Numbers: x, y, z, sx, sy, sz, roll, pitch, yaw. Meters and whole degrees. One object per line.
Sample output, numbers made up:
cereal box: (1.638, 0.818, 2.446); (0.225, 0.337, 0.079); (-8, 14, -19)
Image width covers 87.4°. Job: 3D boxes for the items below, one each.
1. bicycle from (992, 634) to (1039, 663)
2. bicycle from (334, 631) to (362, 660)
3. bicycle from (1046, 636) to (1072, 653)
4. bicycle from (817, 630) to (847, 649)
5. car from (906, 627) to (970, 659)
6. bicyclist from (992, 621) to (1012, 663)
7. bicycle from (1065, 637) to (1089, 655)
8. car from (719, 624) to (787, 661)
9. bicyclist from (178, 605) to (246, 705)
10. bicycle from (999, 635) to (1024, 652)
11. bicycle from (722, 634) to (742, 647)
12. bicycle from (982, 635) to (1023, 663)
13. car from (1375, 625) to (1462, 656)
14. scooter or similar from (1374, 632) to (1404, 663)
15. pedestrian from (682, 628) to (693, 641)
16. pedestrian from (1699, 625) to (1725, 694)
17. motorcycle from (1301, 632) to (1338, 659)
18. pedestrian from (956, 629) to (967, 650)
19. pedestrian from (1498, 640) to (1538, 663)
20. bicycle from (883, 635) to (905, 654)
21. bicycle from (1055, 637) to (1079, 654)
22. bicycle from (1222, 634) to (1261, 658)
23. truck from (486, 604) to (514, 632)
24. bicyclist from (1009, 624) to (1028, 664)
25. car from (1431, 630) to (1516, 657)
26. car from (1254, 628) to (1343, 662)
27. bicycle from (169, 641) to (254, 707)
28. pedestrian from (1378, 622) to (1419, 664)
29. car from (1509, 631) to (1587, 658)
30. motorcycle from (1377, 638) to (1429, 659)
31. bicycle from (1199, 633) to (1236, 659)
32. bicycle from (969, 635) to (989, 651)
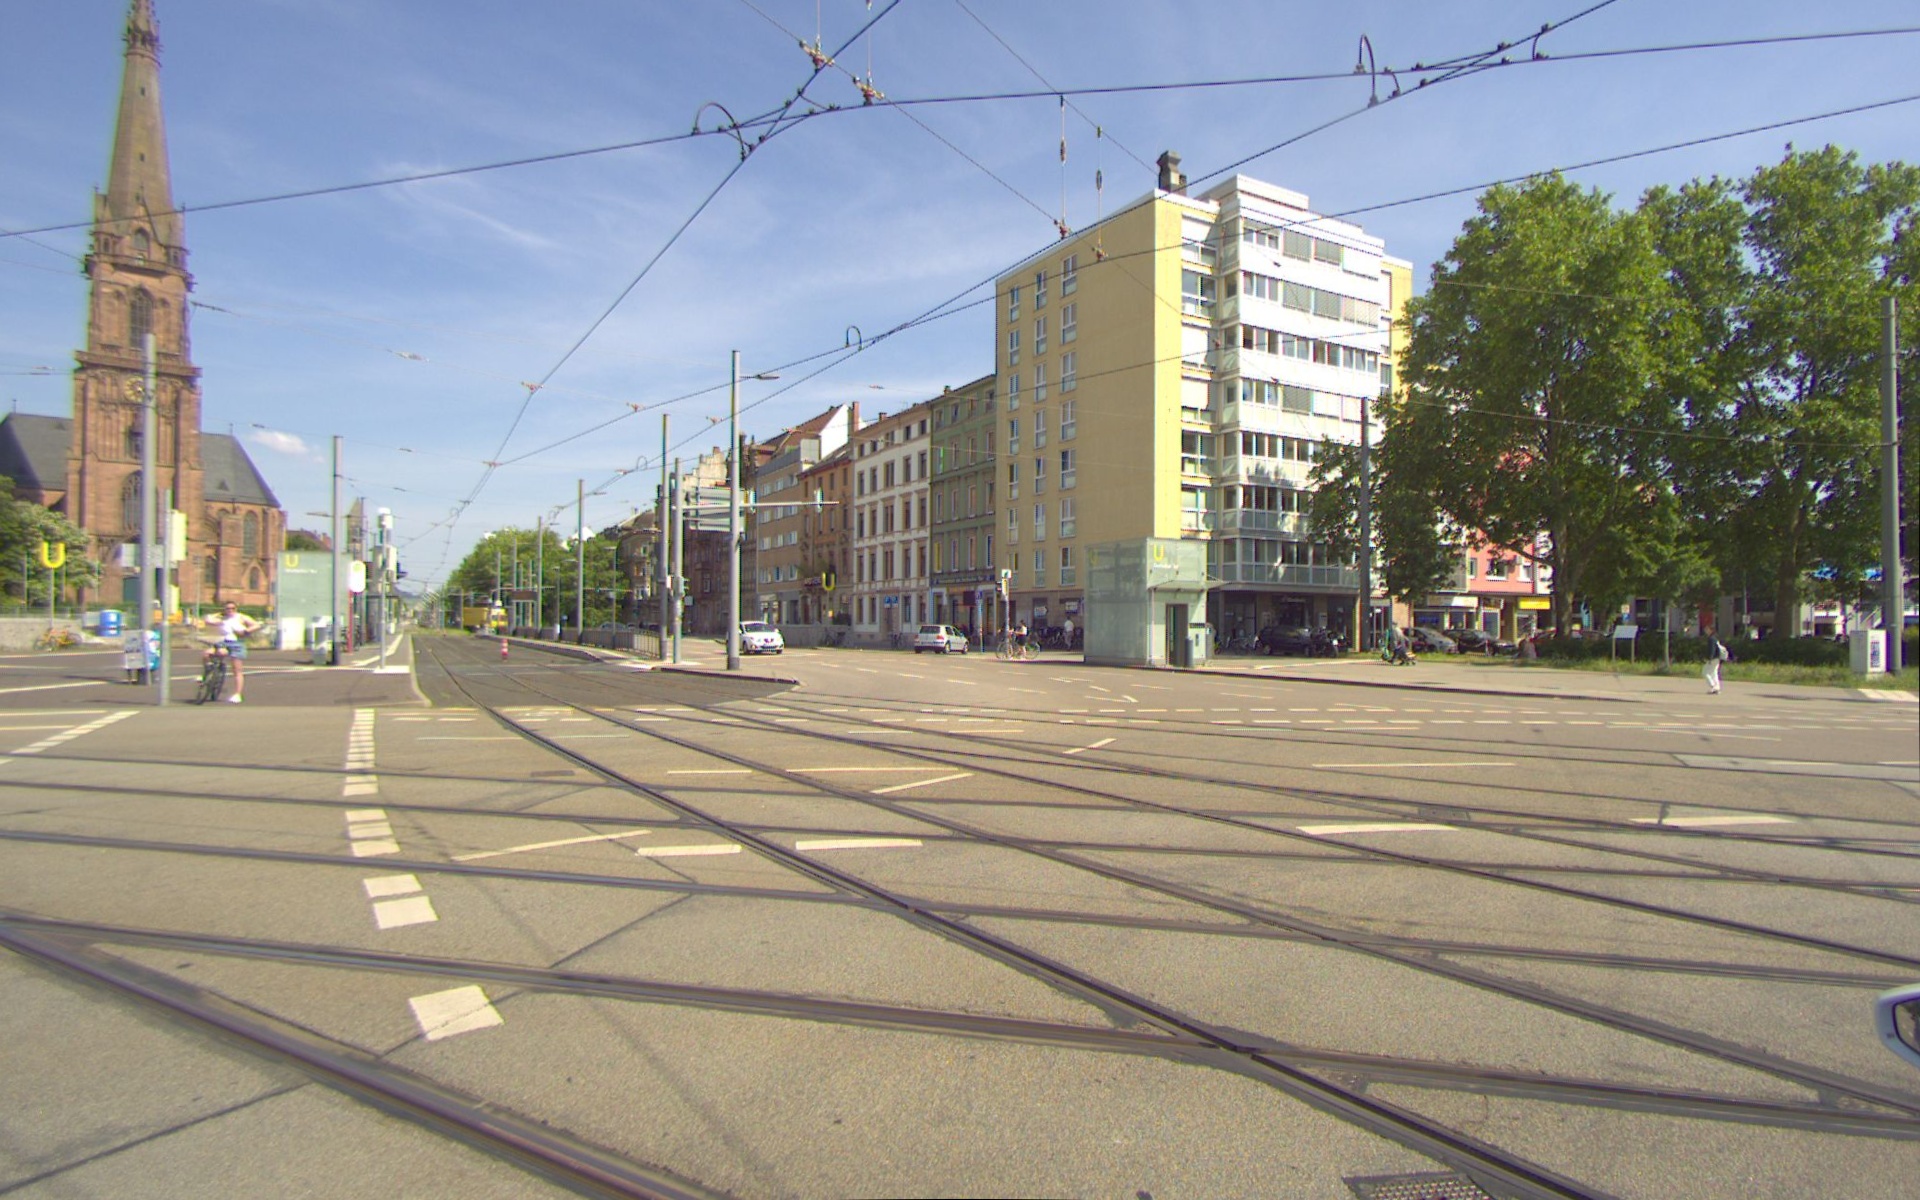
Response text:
bicycle: (2.267, 1.993, 41.012); (1.765, 1.145, 0.753); (1, -2, -12)
bicycle: (-25.042, 1.839, 41.148); (0.406, 1.085, 1.660); (0, 1, -11)
bicycle: (5.589, 2.478, 56.646); (0.577, 0.928, 1.744); (0, -2, -28)
bicycle: (-7.928, 2.440, 62.262); (1.727, 1.109, 0.593); (1, -1, -30)
car: (-1.067, 2.159, 50.420); (1.778, 1.458, 4.001); (1, -3, 21)
bicyclist: (1.783, 1.757, 42.357); (0.611, 1.757, 0.578); (2, -2, -35)
bicycle: (6.409, 2.508, 55.228); (0.575, 0.928, 1.748); (0, -2, -21)
car: (-9.145, 1.835, 44.190); (1.738, 1.417, 4.093); (-3, 0, -29)
bicyclist: (-13.195, 0.972, 17.745); (0.741, 1.706, 0.773); (1, -3, -23)
bicycle: (3.125, 2.612, 61.027); (0.577, 0.977, 1.766); (-2, -1, -30)
bicycle: (-17.911, 3.171, 78.997); (1.448, 0.989, 0.412); (1, 1, -30)
bicycle: (1.812, 2.070, 42.524); (1.779, 1.145, 0.578); (2, -3, -36)
car: (24.718, 2.167, 54.300); (1.867, 1.459, 3.970); (1, 1, -28)
scooter or similar: (15.819, 1.741, 37.048); (0.507, 1.134, 1.364); (0, -1, -2)
pedestrian: (-28.417, 3.636, 104.623); (0.939, 1.342, 0.815); (1, -2, -32)
pedestrian: (18.127, 1.429, 24.211); (0.448, 1.626, 0.398); (2, 1, 42)
motorcycle: (14.468, 1.816, 40.484); (0.628, 1.076, 2.037); (0, -1, -4)
pedestrian: (0.086, 2.629, 67.090); (0.520, 1.392, 0.641); (1, -1, -29)
pedestrian: (22.125, 2.032, 39.832); (0.813, 0.904, 1.166); (1, -1, -31)
bicycle: (-3.986, 2.665, 60.754); (0.577, 1.109, 1.806); (-2, -1, -29)
bicycle: (5.856, 2.494, 55.163); (0.575, 0.928, 1.748); (0, -2, -21)
bicycle: (13.453, 2.175, 48.015); (1.729, 1.100, 0.581); (0, -1, -19)
truck: (-59.622, 2.360, 130.142); (2.521, 3.342, 8.958); (-2, -1, -30)
bicyclist: (2.386, 1.791, 40.952); (0.602, 1.593, 0.732); (1, -2, -12)
car: (28.727, 2.425, 56.272); (1.722, 1.287, 3.970); (1, 0, -28)
car: (16.415, 2.168, 48.884); (1.639, 1.489, 4.063); (4, -3, -28)
bicycle: (-13.193, 1.287, 17.754); (0.740, 1.098, 1.839); (1, -3, -22)
pedestrian: (15.324, 1.498, 35.119); (0.650, 1.423, 1.107); (1, 1, -34)
car: (35.408, 2.656, 60.534); (1.722, 1.358, 3.707); (1, 1, -28)
motorcycle: (18.884, 2.060, 42.814); (1.999, 0.853, 0.640); (0, -1, 22)
bicycle: (12.554, 2.218, 48.954); (1.729, 1.235, 0.581); (0, -1, -19)
bicycle: (1.207, 2.745, 64.643); (0.409, 0.977, 1.766); (-2, -1, -30)
